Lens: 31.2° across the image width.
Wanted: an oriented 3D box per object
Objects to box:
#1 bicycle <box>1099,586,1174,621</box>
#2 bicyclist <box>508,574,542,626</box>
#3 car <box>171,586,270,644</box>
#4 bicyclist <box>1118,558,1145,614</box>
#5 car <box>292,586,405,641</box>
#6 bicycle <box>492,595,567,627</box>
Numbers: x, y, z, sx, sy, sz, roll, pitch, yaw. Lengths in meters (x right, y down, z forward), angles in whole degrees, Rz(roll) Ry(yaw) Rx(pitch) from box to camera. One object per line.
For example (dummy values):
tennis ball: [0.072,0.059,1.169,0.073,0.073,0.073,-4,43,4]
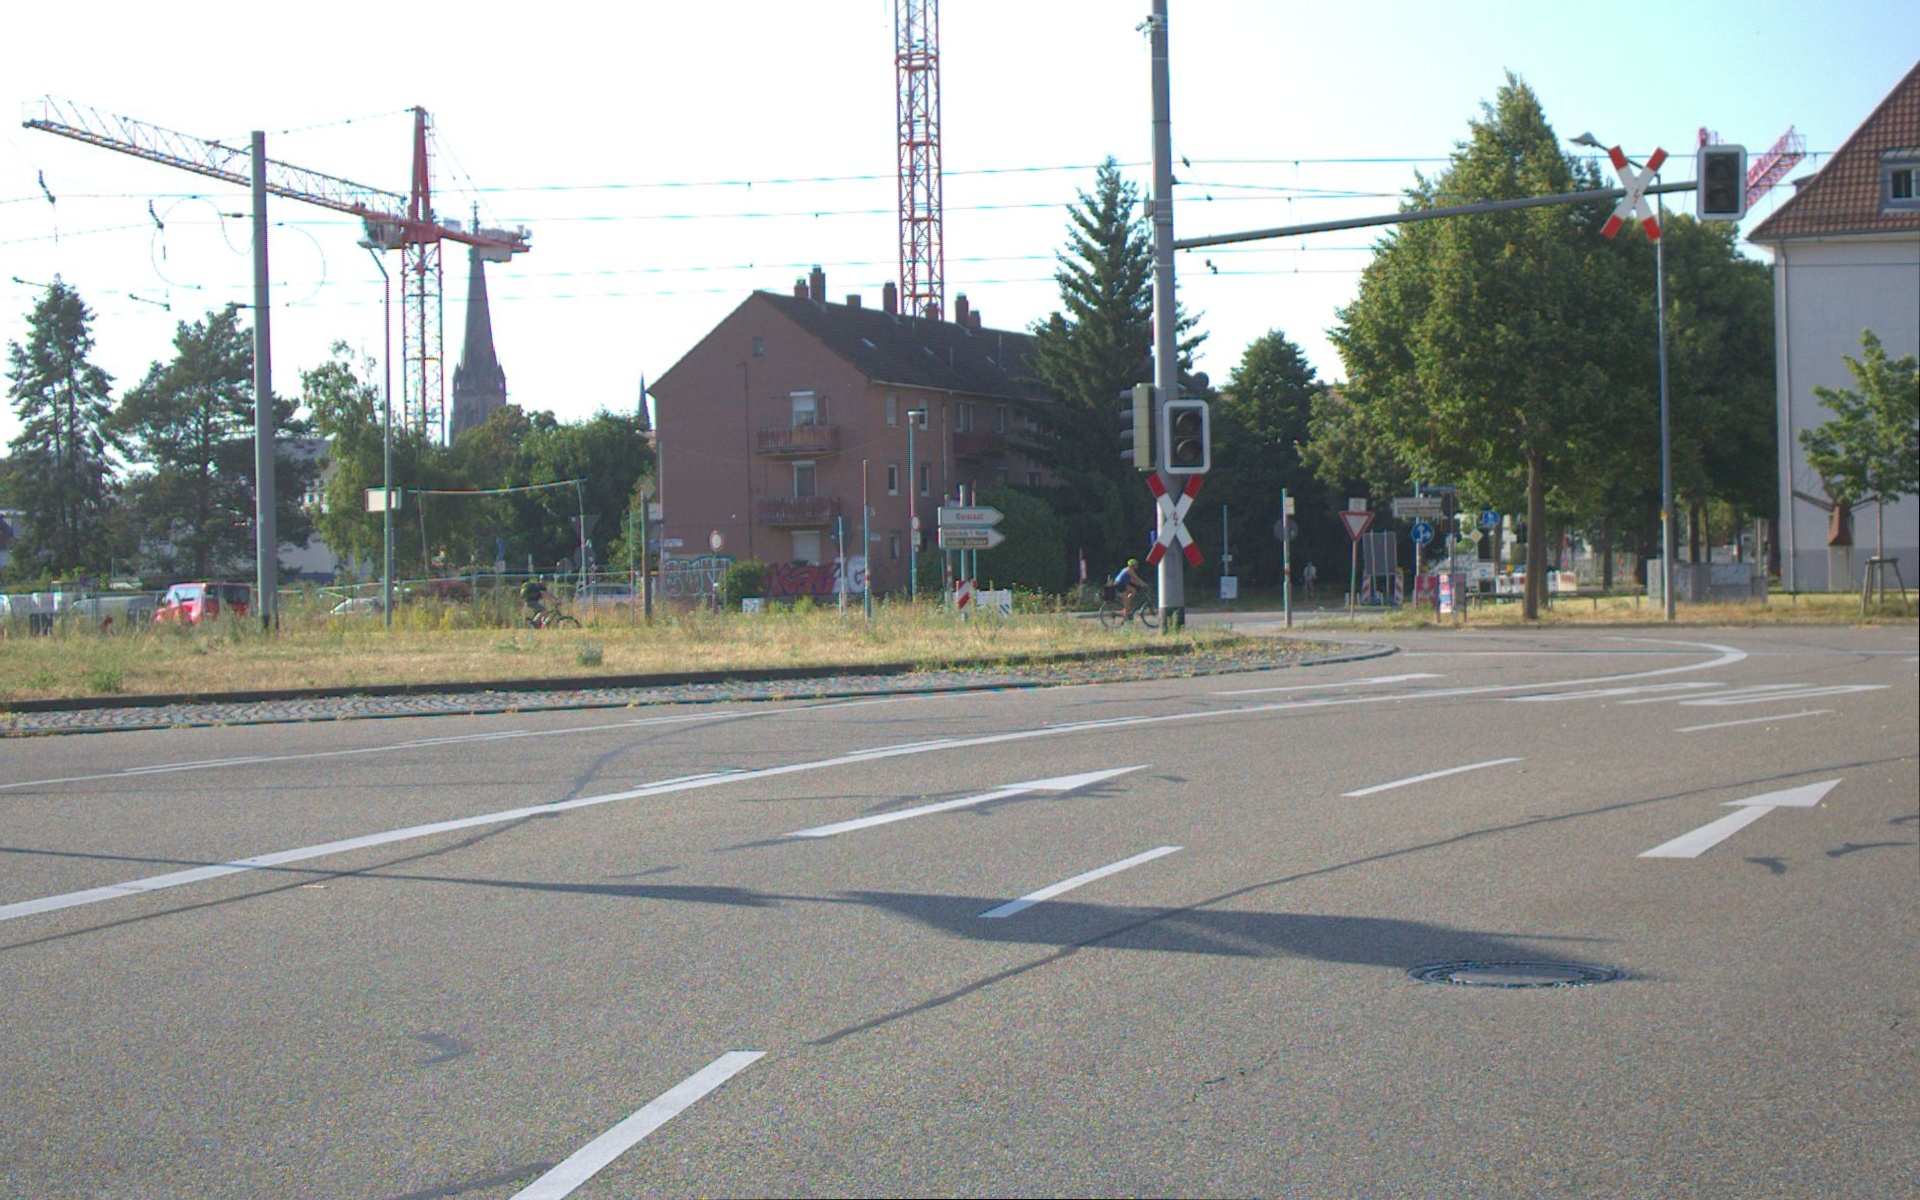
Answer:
bicycle: [4.816,0.099,93.753,1.987,0.915,0.430,-1,1,-8]
bicyclist: [-11.853,0.002,93.673,0.897,1.391,0.526,-1,1,-8]
car: [-24.340,0.481,113.081,1.919,1.848,4.000,-1,1,-32]
bicyclist: [4.677,-0.376,93.730,0.622,1.506,0.419,-1,1,-8]
car: [-22.974,0.512,129.113,3.811,2.007,1.671,-1,0,16]
bicycle: [-11.732,0.309,93.662,1.987,0.822,0.430,-1,1,-8]
